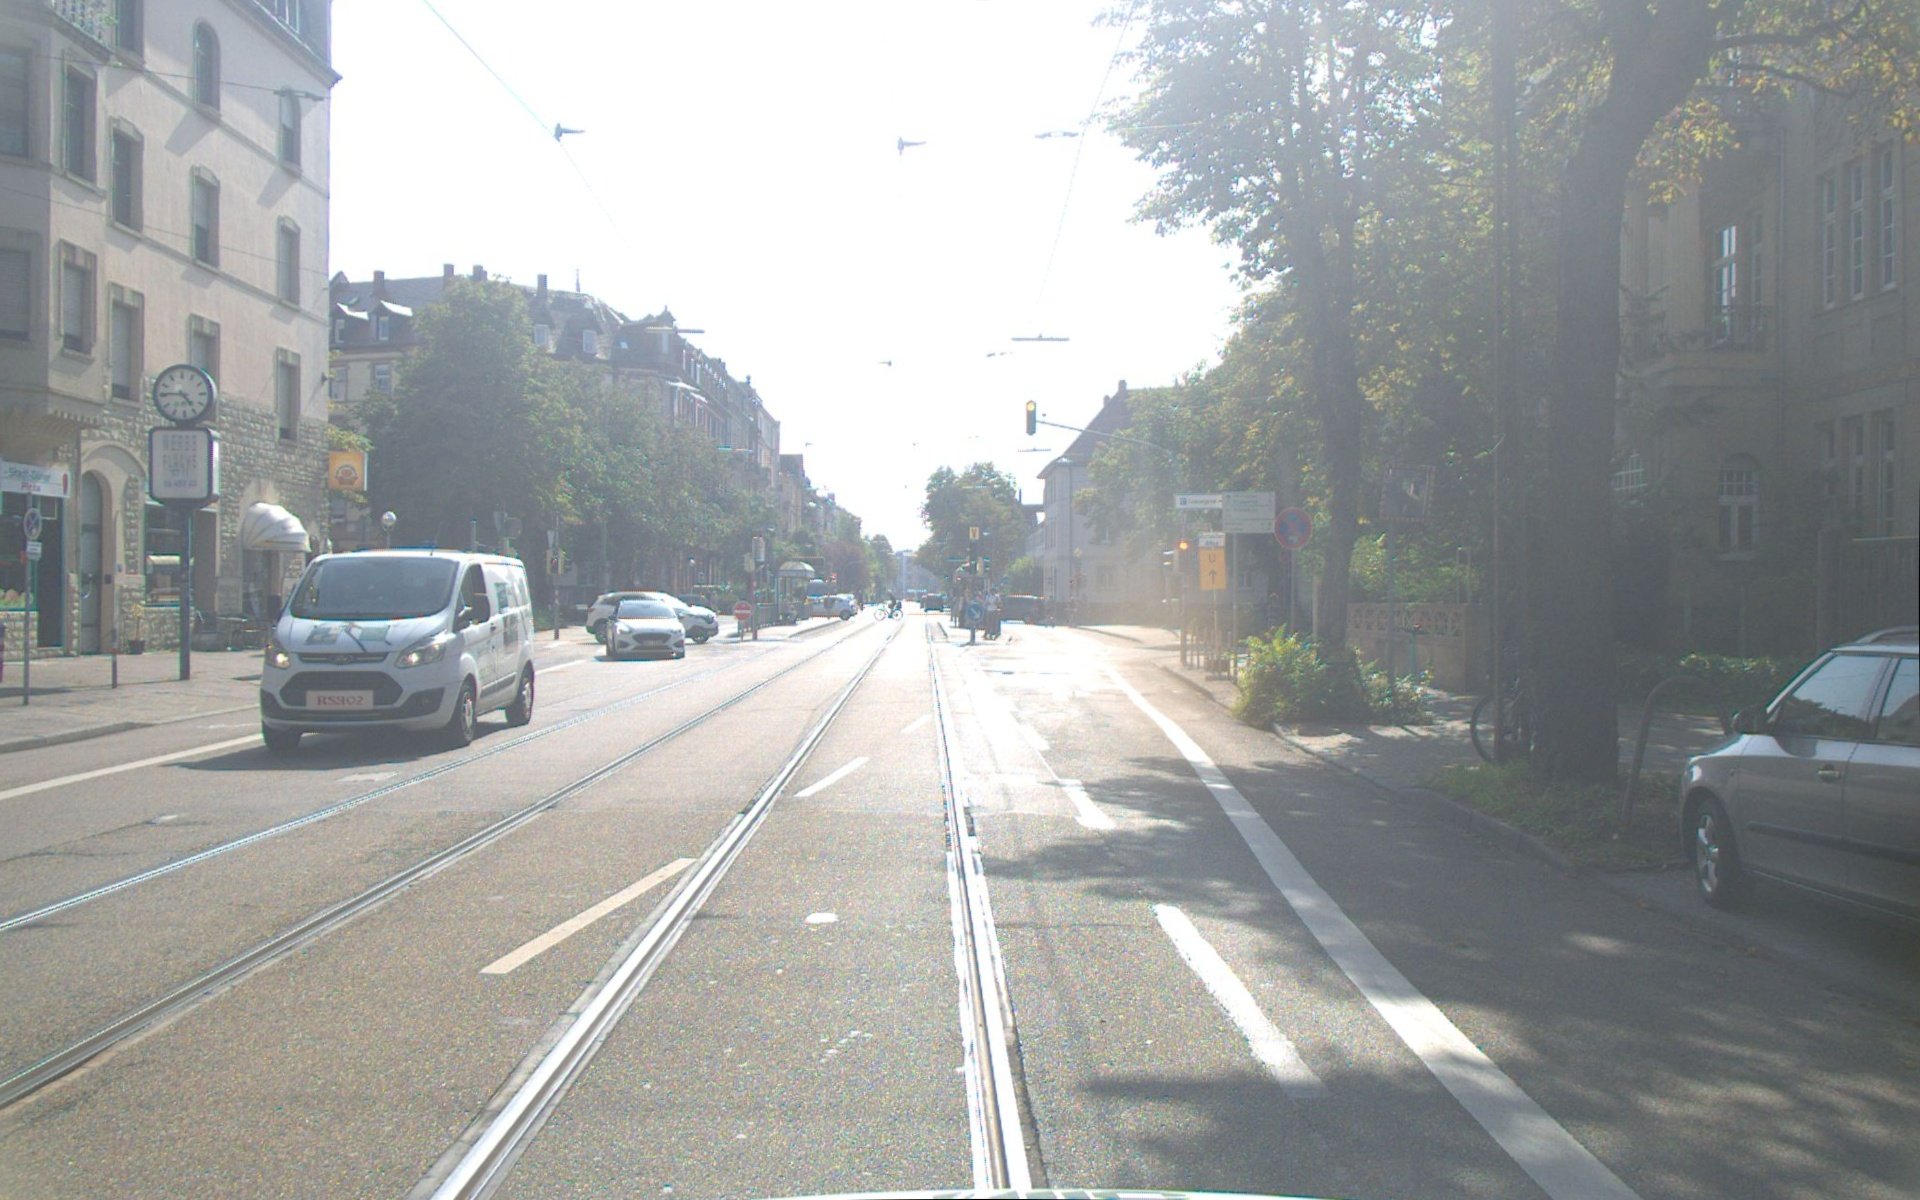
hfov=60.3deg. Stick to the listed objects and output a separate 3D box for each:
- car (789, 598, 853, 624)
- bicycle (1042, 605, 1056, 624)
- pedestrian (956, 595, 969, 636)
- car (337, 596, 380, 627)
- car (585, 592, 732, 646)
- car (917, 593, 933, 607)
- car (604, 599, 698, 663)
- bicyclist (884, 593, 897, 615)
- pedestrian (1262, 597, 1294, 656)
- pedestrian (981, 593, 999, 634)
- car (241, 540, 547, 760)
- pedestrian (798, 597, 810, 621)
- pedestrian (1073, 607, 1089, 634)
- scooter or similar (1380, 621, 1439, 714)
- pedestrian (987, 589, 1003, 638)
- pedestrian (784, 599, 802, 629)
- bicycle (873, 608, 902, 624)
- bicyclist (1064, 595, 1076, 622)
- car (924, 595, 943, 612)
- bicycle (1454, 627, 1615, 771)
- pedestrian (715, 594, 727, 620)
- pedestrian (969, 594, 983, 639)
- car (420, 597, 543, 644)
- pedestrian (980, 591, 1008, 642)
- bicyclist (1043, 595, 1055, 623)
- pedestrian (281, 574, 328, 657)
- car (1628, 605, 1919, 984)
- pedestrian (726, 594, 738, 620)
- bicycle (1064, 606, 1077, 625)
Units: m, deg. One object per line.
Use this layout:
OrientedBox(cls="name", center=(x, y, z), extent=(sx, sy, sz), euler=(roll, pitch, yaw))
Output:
OrientedBox(cls="car", center=(-8.571, 0.661, 101.890), extent=(3.888, 1.579, 1.997), euler=(0, 0, -6))
OrientedBox(cls="bicycle", center=(4.893, 0.790, 91.318), extent=(0.616, 0.995, 1.769), euler=(0, 0, -2))
OrientedBox(cls="pedestrian", center=(0.119, 0.694, 75.020), extent=(0.521, 1.790, 0.545), euler=(3, 2, 1))
OrientedBox(cls="car", center=(-29.467, 0.541, 81.067), extent=(1.835, 1.492, 4.761), euler=(0, 0, -18))
OrientedBox(cls="car", center=(-9.641, 0.586, 52.869), extent=(4.230, 1.659, 2.000), euler=(0, 0, 23))
OrientedBox(cls="car", center=(-4.236, 0.030, 199.409), extent=(1.764, 1.682, 3.642), euler=(0, 0, 0))
OrientedBox(cls="car", center=(-7.926, 0.747, 42.760), extent=(1.835, 1.480, 4.541), euler=(-2, 0, -4))
OrientedBox(cls="bicyclist", center=(-4.380, 0.240, 103.554), extent=(0.802, 1.351, 0.548), euler=(0, 0, -4))
OrientedBox(cls="pedestrian", center=(9.471, 0.788, 49.259), extent=(0.736, 1.761, 0.770), euler=(0, 0, -10))
OrientedBox(cls="pedestrian", center=(1.331, 0.590, 72.993), extent=(0.694, 1.790, 0.534), euler=(3, 2, -1))
OrientedBox(cls="car", center=(-5.901, 0.460, 17.930), extent=(1.954, 2.049, 4.855), euler=(0, 0, -4))
OrientedBox(cls="pedestrian", center=(-11.433, 0.661, 121.136), extent=(0.734, 1.761, 0.772), euler=(0, 0, 1))
OrientedBox(cls="pedestrian", center=(8.000, 1.345, 109.476), extent=(0.873, 1.771, 0.776), euler=(0, 0, 20))
OrientedBox(cls="scooter or similar", center=(6.171, 0.914, 22.737), extent=(0.546, 1.218, 1.035), euler=(-3, -1, 4))
OrientedBox(cls="pedestrian", center=(1.353, 0.531, 64.093), extent=(0.494, 1.865, 0.534), euler=(3, 2, -1))
OrientedBox(cls="pedestrian", center=(-7.712, 0.664, 76.366), extent=(0.811, 1.382, 0.775), euler=(0, 0, -5))
OrientedBox(cls="bicycle", center=(-4.517, 0.989, 103.542), extent=(1.814, 0.975, 0.548), euler=(0, 0, -4))
OrientedBox(cls="bicyclist", center=(6.049, 0.472, 90.785), extent=(0.547, 1.441, 0.871), euler=(0, 0, -2))
OrientedBox(cls="car", center=(-2.580, 0.351, 161.726), extent=(1.764, 1.682, 3.642), euler=(0, 0, 0))
OrientedBox(cls="bicycle", center=(5.411, 0.911, 15.526), extent=(1.826, 1.186, 0.497), euler=(-2, -4, -42))
OrientedBox(cls="pedestrian", center=(-16.298, 0.496, 112.816), extent=(0.521, 1.720, 0.545), euler=(3, 2, 20))
OrientedBox(cls="pedestrian", center=(0.662, 0.683, 68.790), extent=(0.494, 1.790, 0.534), euler=(3, 2, -1))
OrientedBox(cls="car", center=(-16.361, 0.674, 56.437), extent=(4.702, 1.492, 1.859), euler=(1, 0, 42))
OrientedBox(cls="pedestrian", center=(1.232, 0.590, 59.827), extent=(0.687, 1.755, 0.746), euler=(4, 2, 32))
OrientedBox(cls="bicyclist", center=(4.899, 0.484, 91.318), extent=(0.616, 1.534, 0.678), euler=(0, 0, -2))
OrientedBox(cls="pedestrian", center=(-14.979, 0.352, 37.787), extent=(0.758, 1.892, 0.830), euler=(0, 0, -3))
OrientedBox(cls="car", center=(4.896, 0.847, 7.824), extent=(1.574, 1.550, 4.356), euler=(-3, 0, -1))
OrientedBox(cls="pedestrian", center=(-15.655, 0.480, 113.533), extent=(0.522, 1.790, 0.544), euler=(3, 2, 25))
OrientedBox(cls="bicycle", center=(6.056, 0.851, 90.770), extent=(0.547, 0.995, 1.855), euler=(0, 0, -2))
